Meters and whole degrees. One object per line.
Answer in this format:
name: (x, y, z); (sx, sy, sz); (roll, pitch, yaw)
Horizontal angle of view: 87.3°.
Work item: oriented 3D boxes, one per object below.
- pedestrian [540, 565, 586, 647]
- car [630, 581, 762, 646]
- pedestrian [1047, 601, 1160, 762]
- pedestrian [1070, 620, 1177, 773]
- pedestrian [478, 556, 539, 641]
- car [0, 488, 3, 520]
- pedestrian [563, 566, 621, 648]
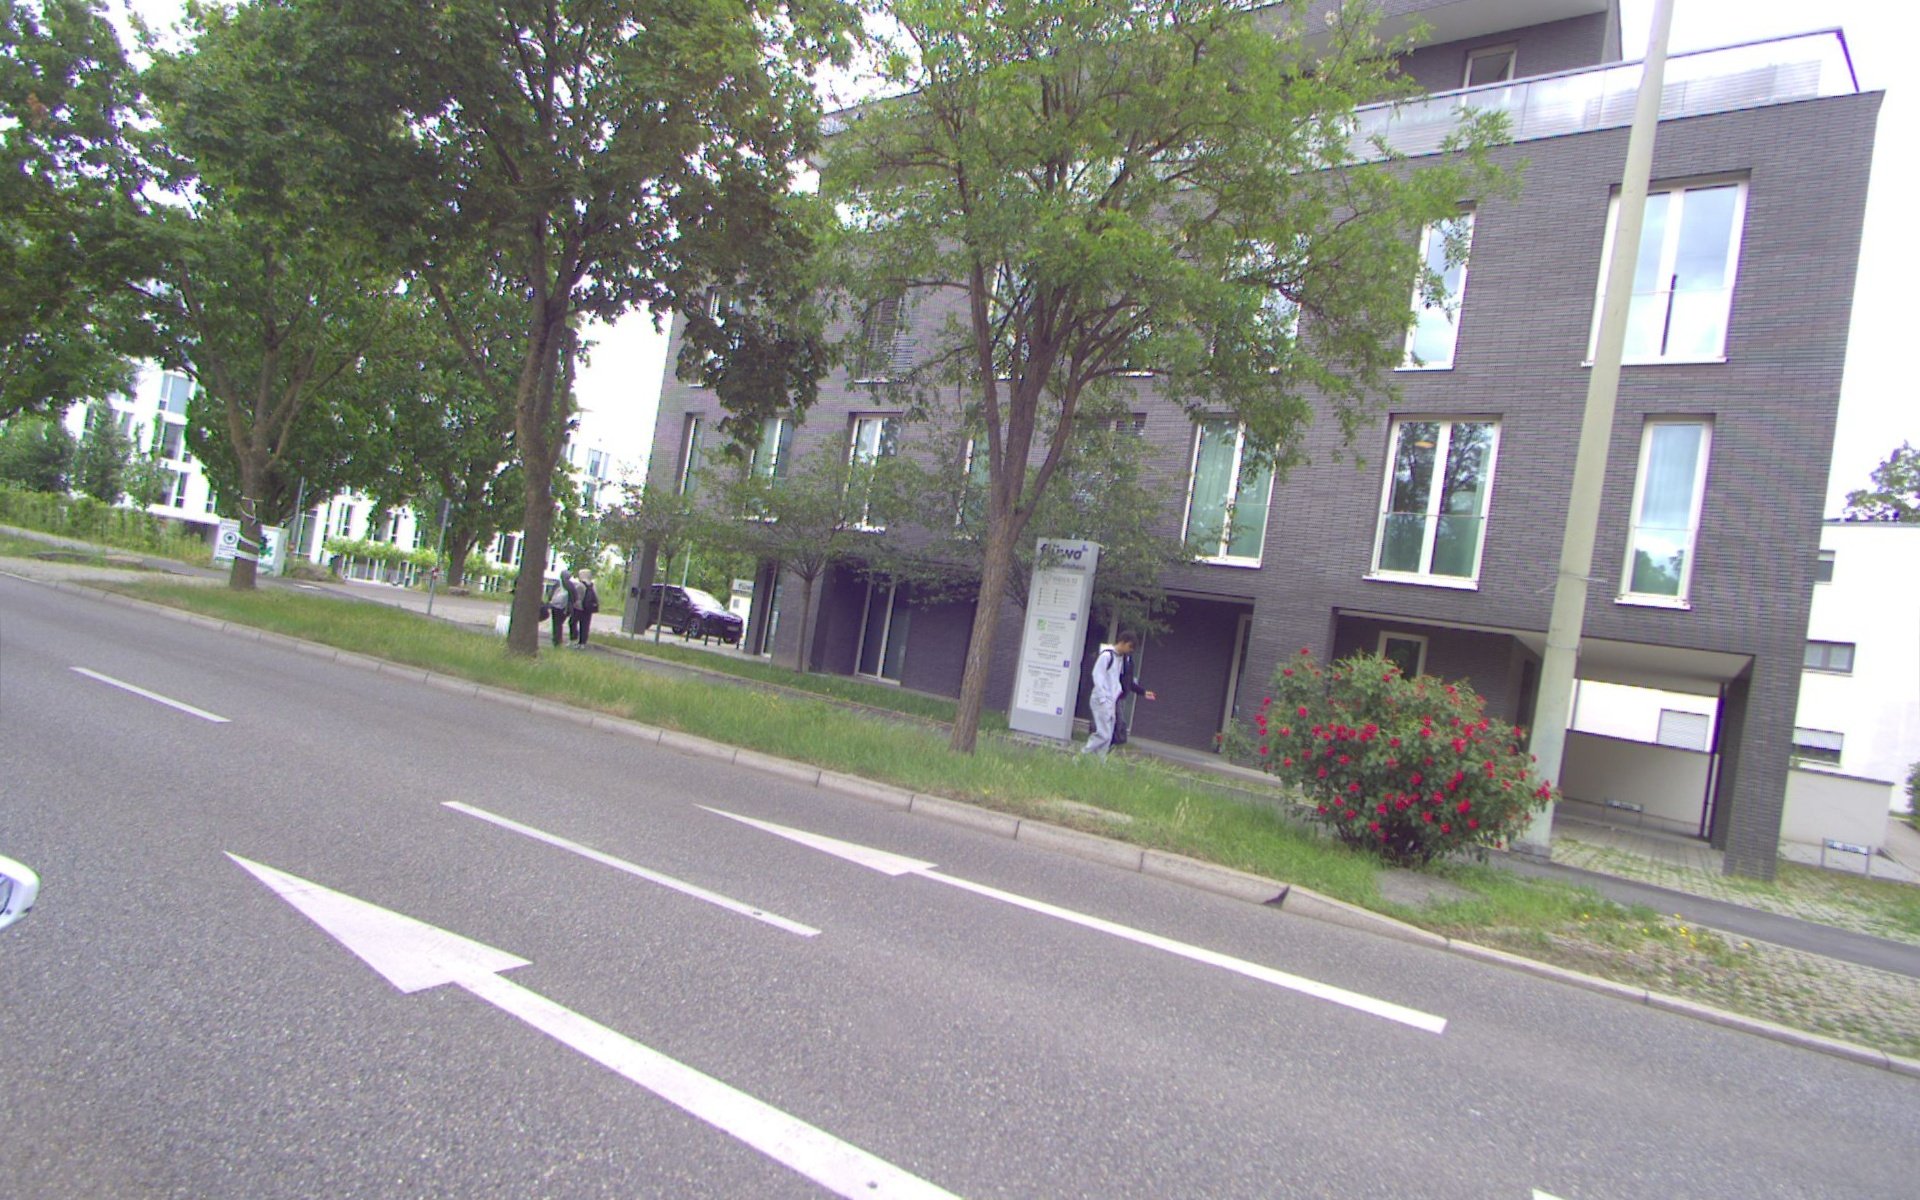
pedestrian: (-8.017, 0.113, 20.304); (0.553, 1.569, 0.409); (6, -3, 37)
car: (-8.803, 0.432, 33.402); (4.112, 1.569, 1.828); (7, -2, 34)
pedestrian: (1.771, 0.995, 12.402); (0.938, 1.796, 0.609); (10, 0, 32)
pedestrian: (2.116, 1.244, 13.035); (0.938, 1.796, 0.609); (10, 0, 32)
pedestrian: (-8.990, -0.021, 20.033); (0.578, 1.570, 0.726); (7, -2, 36)
car: (-11.734, -0.628, 9.906); (4.889, 1.504, 2.056); (7, 0, 31)
pedestrian: (-7.639, 0.148, 20.896); (0.732, 1.568, 0.590); (7, -4, 37)
